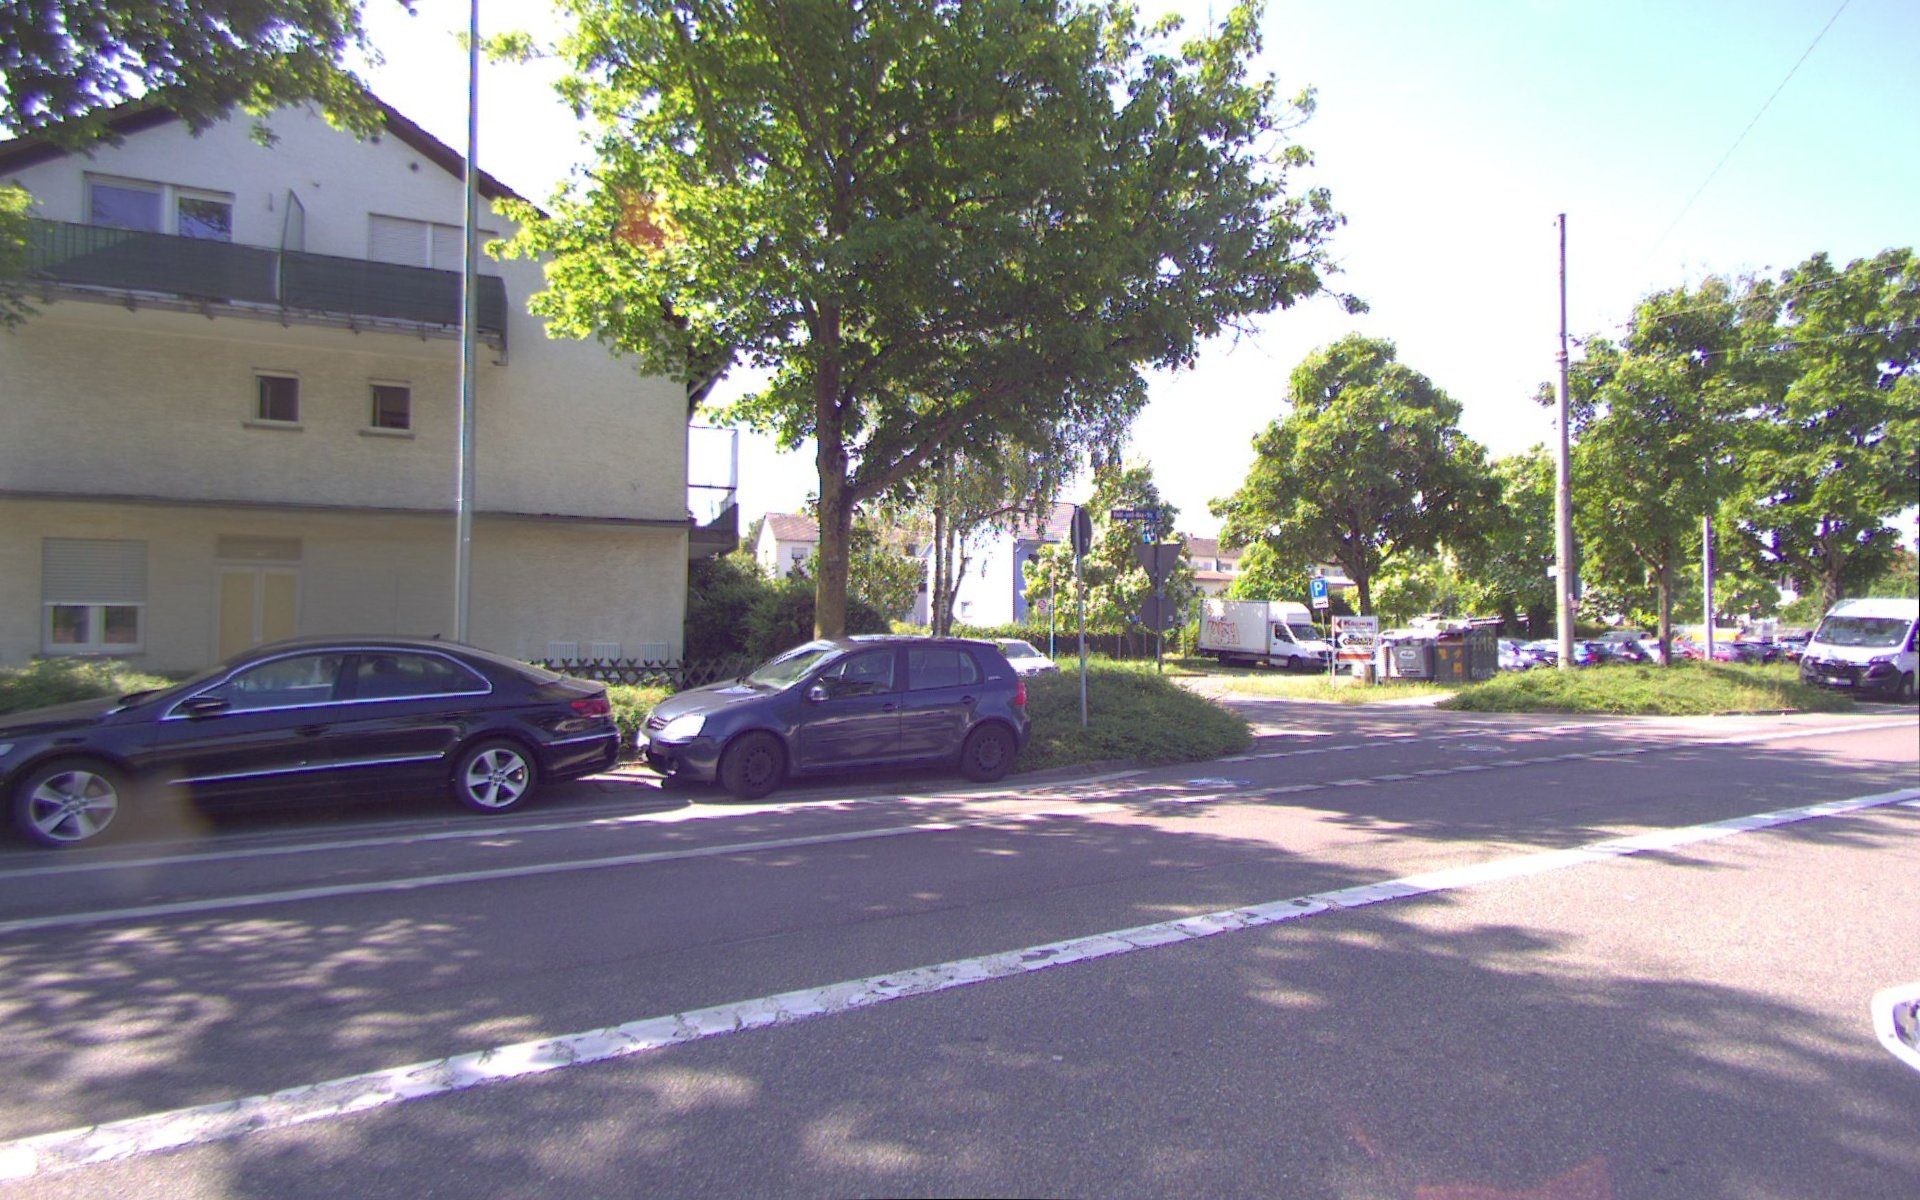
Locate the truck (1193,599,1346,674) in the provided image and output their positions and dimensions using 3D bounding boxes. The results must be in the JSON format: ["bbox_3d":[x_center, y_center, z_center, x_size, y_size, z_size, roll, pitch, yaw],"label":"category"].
[{"bbox_3d":[14.235,1.577,46.779,2.206,3.059,7.103,1,1,-31],"label":"truck"}]

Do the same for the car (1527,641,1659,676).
[{"bbox_3d":[24.379,2.214,38.829,1.748,1.241,3.973,1,-2,-27],"label":"car"}]

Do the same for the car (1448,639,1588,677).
[{"bbox_3d":[19.517,1.999,35.285,1.751,1.241,3.967,1,-2,-31],"label":"car"}]

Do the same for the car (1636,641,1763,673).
[{"bbox_3d":[31.108,2.359,42.362,1.748,1.241,3.973,1,-2,-27],"label":"car"}]

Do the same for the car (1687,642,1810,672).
[{"bbox_3d":[35.218,2.519,44.969,1.748,1.241,3.973,1,-2,-27],"label":"car"}]

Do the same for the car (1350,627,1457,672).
[{"bbox_3d":[22.876,2.538,51.974,1.980,2.040,4.663,2,0,-34],"label":"car"}]

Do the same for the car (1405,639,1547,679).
[{"bbox_3d":[17.399,1.946,34.052,1.751,1.241,3.967,1,-2,-31],"label":"car"}]

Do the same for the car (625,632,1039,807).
[{"bbox_3d":[-1.286,1.117,10.494,3.956,1.470,1.634,2,0,-29],"label":"car"}]

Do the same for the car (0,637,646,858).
[{"bbox_3d":[-5.217,1.041,8.342,4.727,1.398,1.682,1,0,-31],"label":"car"}]

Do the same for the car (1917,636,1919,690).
[{"bbox_3d":[29.405,1.794,28.756,4.148,1.536,1.835,1,-2,-30],"label":"car"}]

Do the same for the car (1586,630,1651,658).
[{"bbox_3d":[44.896,2.985,68.534,1.535,1.901,3.406,1,-2,-31],"label":"car"}]

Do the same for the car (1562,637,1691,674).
[{"bbox_3d":[26.615,2.193,40.260,1.748,1.368,3.973,1,-2,-27],"label":"car"}]

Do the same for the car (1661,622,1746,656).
[{"bbox_3d":[50.655,2.643,68.522,1.981,2.040,4.228,2,0,-35],"label":"car"}]

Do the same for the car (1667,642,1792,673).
[{"bbox_3d":[33.339,2.451,43.624,1.748,1.241,3.973,1,-2,-27],"label":"car"}]

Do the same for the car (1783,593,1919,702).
[{"bbox_3d":[24.030,1.164,25.892,6.227,2.534,2.050,1,1,-28],"label":"car"}]

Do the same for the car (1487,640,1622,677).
[{"bbox_3d":[21.775,2.103,36.954,1.748,1.241,3.973,1,-2,-27],"label":"car"}]

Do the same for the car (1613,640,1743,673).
[{"bbox_3d":[29.056,2.257,40.777,1.748,1.281,3.973,1,-2,-27],"label":"car"}]

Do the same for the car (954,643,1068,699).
[{"bbox_3d":[1.355,1.949,28.436,1.687,1.437,3.979,1,-2,-23],"label":"car"}]
